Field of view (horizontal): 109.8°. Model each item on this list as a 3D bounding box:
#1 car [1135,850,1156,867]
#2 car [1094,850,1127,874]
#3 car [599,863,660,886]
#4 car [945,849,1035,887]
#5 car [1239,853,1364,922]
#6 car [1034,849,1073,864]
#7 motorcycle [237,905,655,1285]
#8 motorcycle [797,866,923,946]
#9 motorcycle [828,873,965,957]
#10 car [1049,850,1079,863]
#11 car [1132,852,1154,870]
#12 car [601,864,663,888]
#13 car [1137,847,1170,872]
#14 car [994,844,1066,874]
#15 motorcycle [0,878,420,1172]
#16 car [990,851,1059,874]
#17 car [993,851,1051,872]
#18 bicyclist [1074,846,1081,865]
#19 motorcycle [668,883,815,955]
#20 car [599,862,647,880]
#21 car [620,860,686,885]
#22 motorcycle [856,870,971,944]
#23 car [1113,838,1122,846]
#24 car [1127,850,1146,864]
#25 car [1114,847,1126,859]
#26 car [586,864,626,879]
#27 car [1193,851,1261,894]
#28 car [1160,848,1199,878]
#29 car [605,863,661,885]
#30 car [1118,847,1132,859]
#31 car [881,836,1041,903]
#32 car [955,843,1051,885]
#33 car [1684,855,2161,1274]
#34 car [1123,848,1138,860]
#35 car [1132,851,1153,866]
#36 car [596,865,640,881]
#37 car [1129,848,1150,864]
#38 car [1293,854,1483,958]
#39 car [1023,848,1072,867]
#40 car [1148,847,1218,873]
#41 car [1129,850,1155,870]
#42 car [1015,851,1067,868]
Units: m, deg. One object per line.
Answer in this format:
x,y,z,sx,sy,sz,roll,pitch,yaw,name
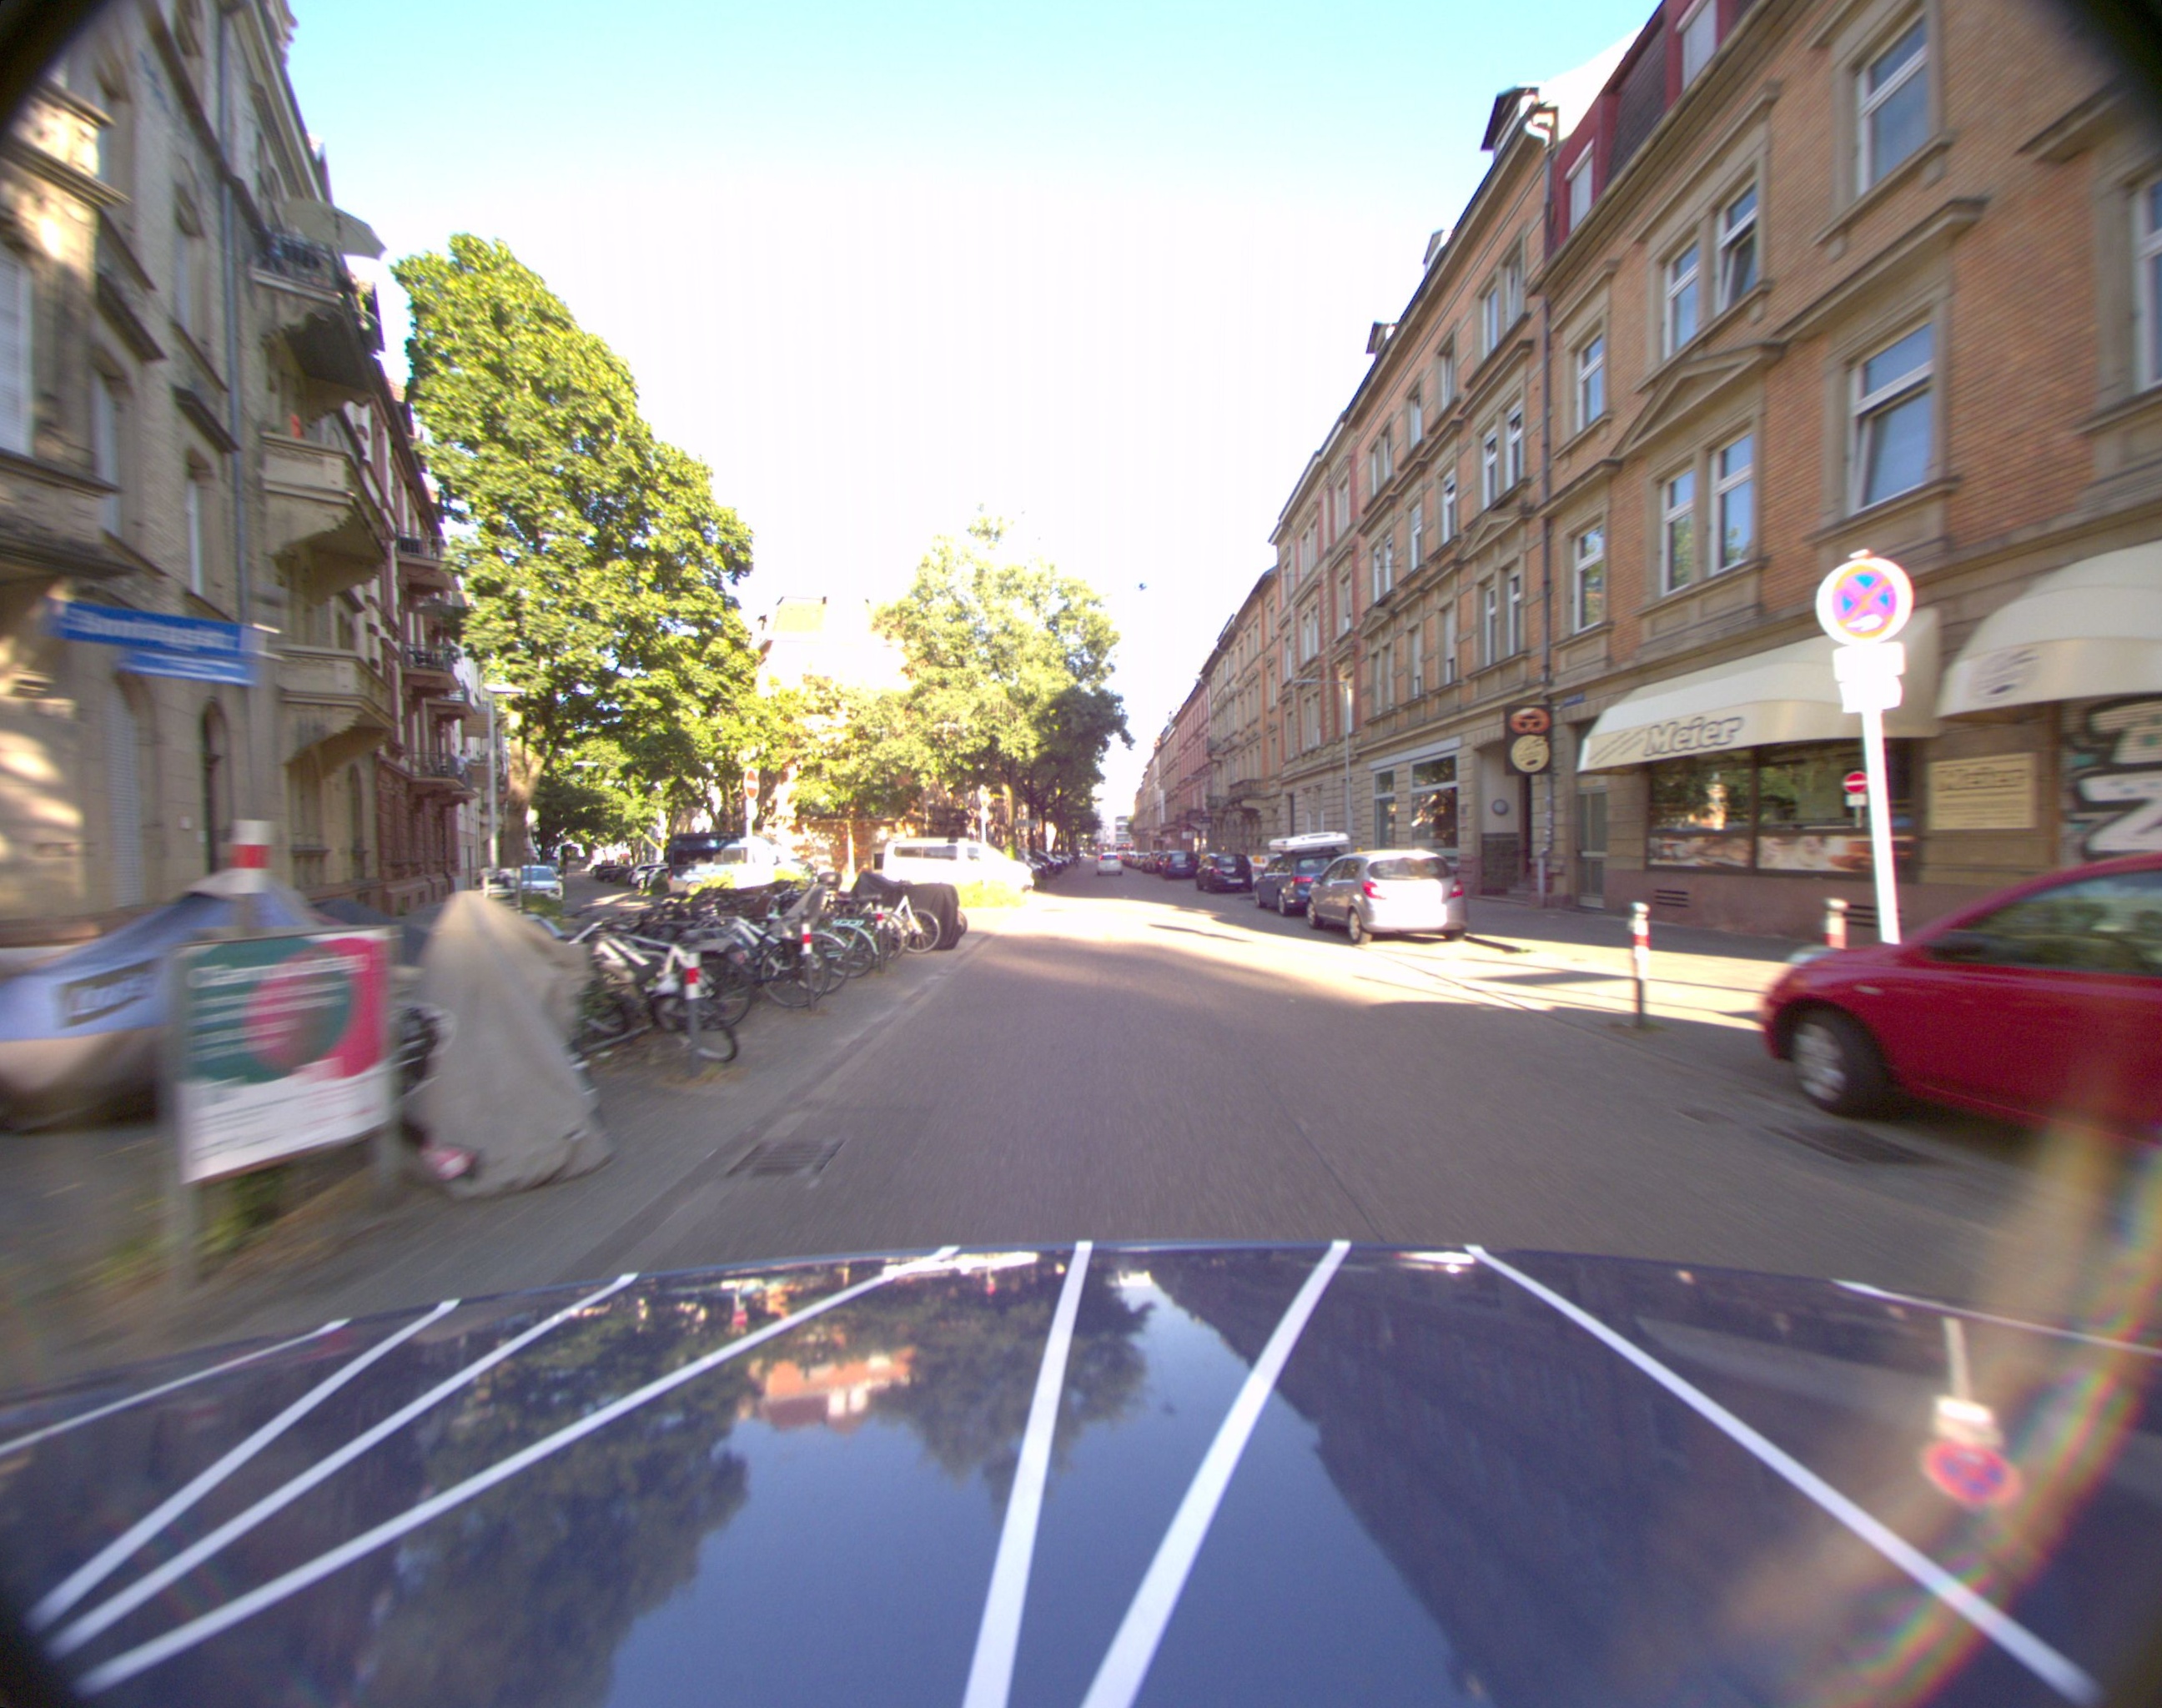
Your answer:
5.850,0.393,69.386,1.709,1.431,3.959,-1,0,1,car
1.943,0.497,51.543,1.754,1.500,3.998,-1,1,-5,car
-38.360,1.746,64.602,4.001,1.711,1.780,-2,1,-11,car
-4.233,0.622,35.886,3.997,1.682,1.800,-1,1,-1,car
5.230,0.727,18.663,1.769,1.429,4.300,-1,0,-1,car
-3.240,0.258,90.828,4.487,1.647,1.891,-1,2,0,car
-3.242,1.013,3.870,1.933,1.404,0.942,-1,1,29,motorcycle
-3.906,0.909,13.511,2.028,1.354,0.694,0,1,1,motorcycle
-2.999,0.984,12.518,2.028,1.277,0.904,1,1,-1,motorcycle
-2.406,0.288,108.060,4.134,1.778,1.945,-1,1,3,car
5.230,0.543,64.717,1.586,1.464,4.000,-1,0,1,car
-36.959,1.811,62.615,4.001,1.711,1.780,-2,1,-11,car
5.115,0.371,54.146,1.652,1.565,4.048,-4,0,-3,car
-3.701,0.360,56.099,5.104,1.930,2.157,-1,4,1,car
-5.510,0.954,4.536,2.289,1.523,0.755,-2,2,-5,motorcycle
-3.752,0.562,50.787,4.380,1.447,1.934,-1,1,1,car
-4.192,0.515,53.622,3.999,1.466,1.780,0,1,-7,car
-0.332,0.171,77.101,0.712,1.865,1.120,0,1,1,bicyclist
-5.607,1.060,12.646,2.028,1.102,0.904,0,1,-1,motorcycle
-49.272,1.850,81.753,4.001,1.711,1.780,-2,1,-11,car
-33.375,1.451,59.335,4.001,1.711,1.780,-2,1,-11,car
-3.146,0.988,14.428,2.020,1.319,0.621,-1,1,-3,motorcycle
7.591,-2.445,157.392,1.868,1.620,3.825,-2,0,3,car
6.205,0.303,85.407,1.825,1.417,4.313,-3,0,1,car
7.039,-0.201,136.366,1.947,2.045,4.745,-2,0,1,car
-62.499,2.251,100.099,4.001,1.711,1.780,-2,1,-11,car
5.390,0.633,28.496,1.708,1.446,4.019,-1,1,0,car
5.513,0.471,42.773,1.746,1.558,3.895,-1,0,1,car
-40.802,1.808,69.291,4.001,1.711,1.780,-2,1,-11,car
6.804,-0.216,119.069,1.847,1.822,4.606,-2,0,0,car
-3.947,0.508,25.696,4.986,2.084,2.105,-1,1,1,car
-3.881,0.494,38.522,4.627,2.002,1.999,-1,1,-1,car
4.933,0.816,3.116,1.674,1.521,3.999,-2,1,-1,car
6.661,-0.023,103.092,1.761,1.464,4.088,-1,0,0,car
5.975,0.425,74.123,1.709,1.315,4.101,-1,0,1,car
-54.505,2.205,89.558,4.001,1.711,1.780,-2,1,-11,car
6.038,0.205,78.996,1.825,1.468,4.423,-3,0,1,car
5.124,0.767,13.291,1.729,1.429,3.996,-3,0,1,car
-3.226,0.314,73.108,4.657,1.692,1.881,1,1,-3,car
6.230,0.377,46.747,3.999,1.521,1.825,-1,1,-5,car
4.740,0.453,59.645,1.651,1.464,4.000,-4,0,1,car
-3.616,0.478,69.584,4.563,1.521,2.000,-1,1,2,car
